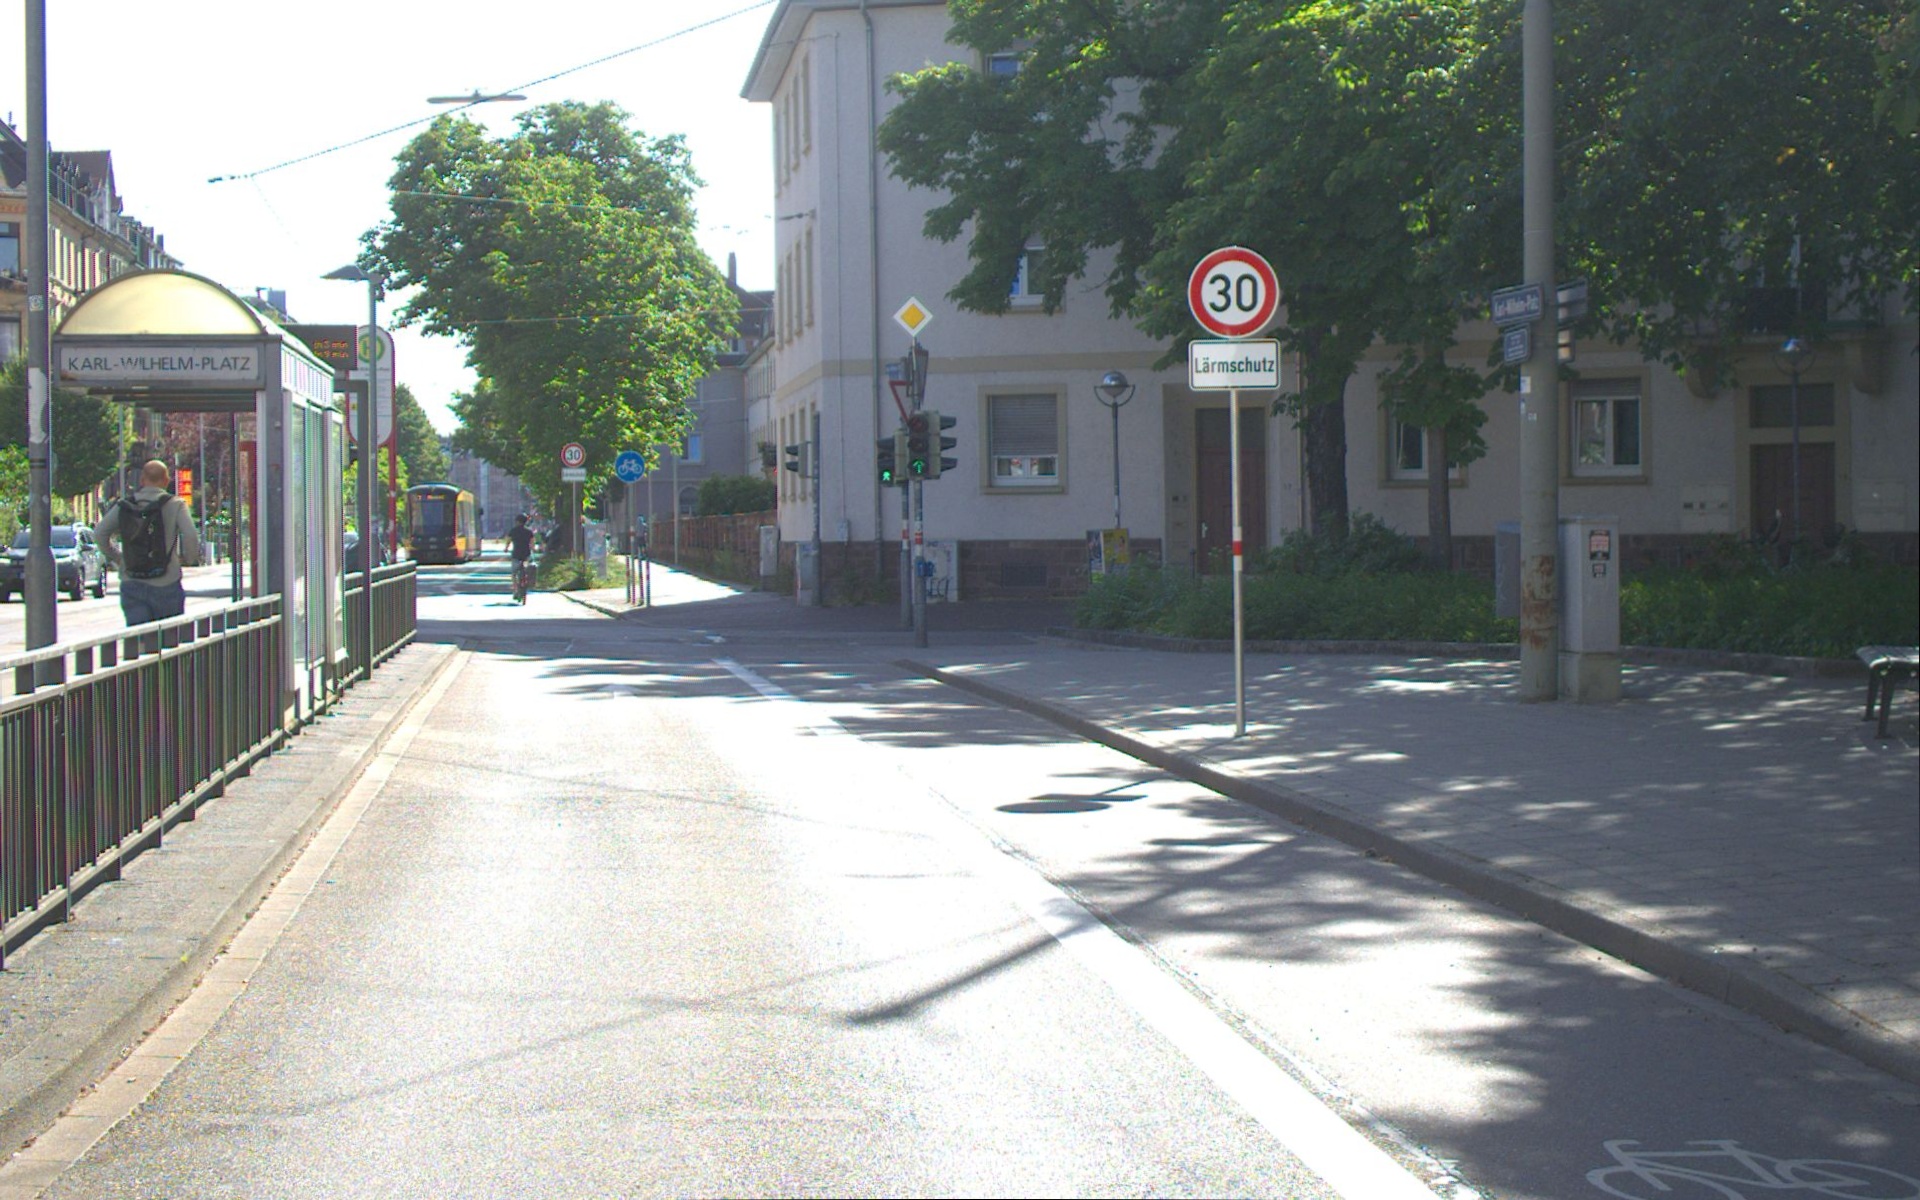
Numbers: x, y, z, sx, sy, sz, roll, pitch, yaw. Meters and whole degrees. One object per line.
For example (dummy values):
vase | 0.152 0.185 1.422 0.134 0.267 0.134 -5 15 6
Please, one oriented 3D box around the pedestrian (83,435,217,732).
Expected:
pedestrian | -5.568 -0.113 23.668 0.795 2.007 0.740 1 0 -6

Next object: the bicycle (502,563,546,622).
bicycle | -8.697 -0.165 68.650 0.841 1.152 2.539 0 1 -6

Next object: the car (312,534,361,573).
car | -26.712 -1.990 147.284 1.993 1.590 4.001 0 1 -10

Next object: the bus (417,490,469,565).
bus | -24.800 -3.455 164.710 2.385 3.484 7.386 0 1 -9

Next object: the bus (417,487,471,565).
bus | -23.646 -3.366 157.382 2.385 3.484 7.386 0 1 -9

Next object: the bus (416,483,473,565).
bus | -22.523 -3.284 150.065 2.385 3.484 7.386 0 1 -9

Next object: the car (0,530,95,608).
car | -19.740 -0.675 73.894 1.775 1.612 4.001 0 1 -8

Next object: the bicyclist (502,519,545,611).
bicyclist | -8.713 -0.704 68.632 0.817 1.805 1.059 0 1 -7
